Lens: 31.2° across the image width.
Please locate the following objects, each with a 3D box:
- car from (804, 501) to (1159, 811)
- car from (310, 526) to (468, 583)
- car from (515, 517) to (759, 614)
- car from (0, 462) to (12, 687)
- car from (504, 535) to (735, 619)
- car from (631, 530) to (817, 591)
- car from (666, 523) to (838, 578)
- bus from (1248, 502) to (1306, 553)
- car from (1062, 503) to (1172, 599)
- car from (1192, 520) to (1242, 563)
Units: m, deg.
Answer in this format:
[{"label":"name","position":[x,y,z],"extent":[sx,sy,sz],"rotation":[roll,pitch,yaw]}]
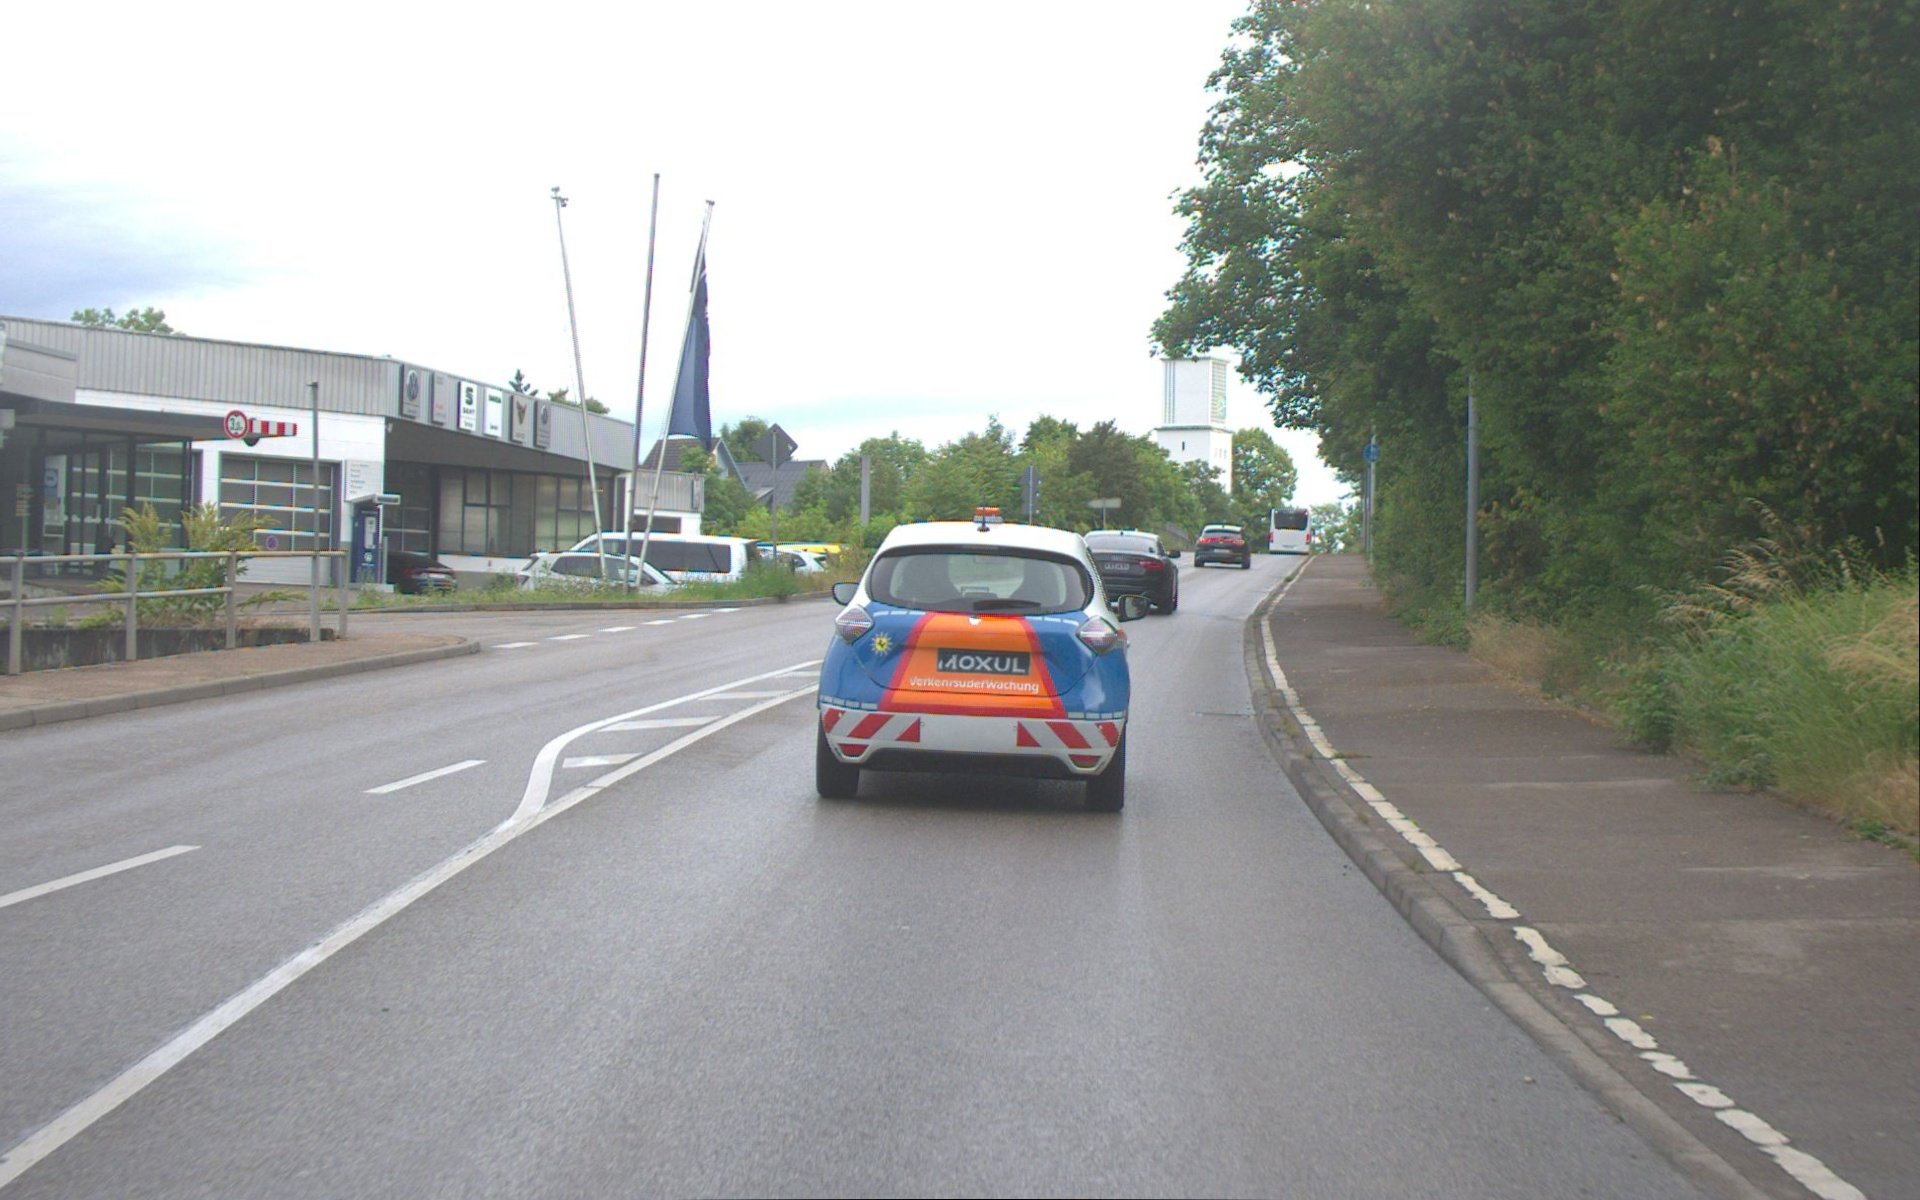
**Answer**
[{"label":"car","position":[0.210,0.292,19.971],"extent":[1.658,1.587,3.567],"rotation":[2,0,6]},{"label":"car","position":[-15.021,-1.204,90.364],"extent":[4.018,1.411,1.949],"rotation":[2,2,40]},{"label":"car","position":[-6.222,-0.681,66.479],"extent":[4.413,1.791,1.934],"rotation":[1,1,5]},{"label":"car","position":[-10.457,-0.224,27.862],"extent":[5.066,1.864,1.823],"rotation":[1,1,-3]},{"label":"car","position":[-6.311,-0.442,63.987],"extent":[4.009,1.473,1.824],"rotation":[1,1,5]},{"label":"car","position":[-5.633,-0.955,82.402],"extent":[4.226,1.364,1.875],"rotation":[1,1,3]},{"label":"car","position":[-5.134,-1.223,85.065],"extent":[4.063,1.286,1.804],"rotation":[1,1,3]},{"label":"bus","position":[20.533,-4.695,223.535],"extent":[2.911,3.159,11.466],"rotation":[0,1,1]},{"label":"car","position":[2.650,-0.832,58.583],"extent":[1.802,1.584,3.563],"rotation":[0,1,2]},{"label":"car","position":[8.553,-1.927,114.670],"extent":[1.614,1.402,3.497],"rotation":[0,1,4]}]
